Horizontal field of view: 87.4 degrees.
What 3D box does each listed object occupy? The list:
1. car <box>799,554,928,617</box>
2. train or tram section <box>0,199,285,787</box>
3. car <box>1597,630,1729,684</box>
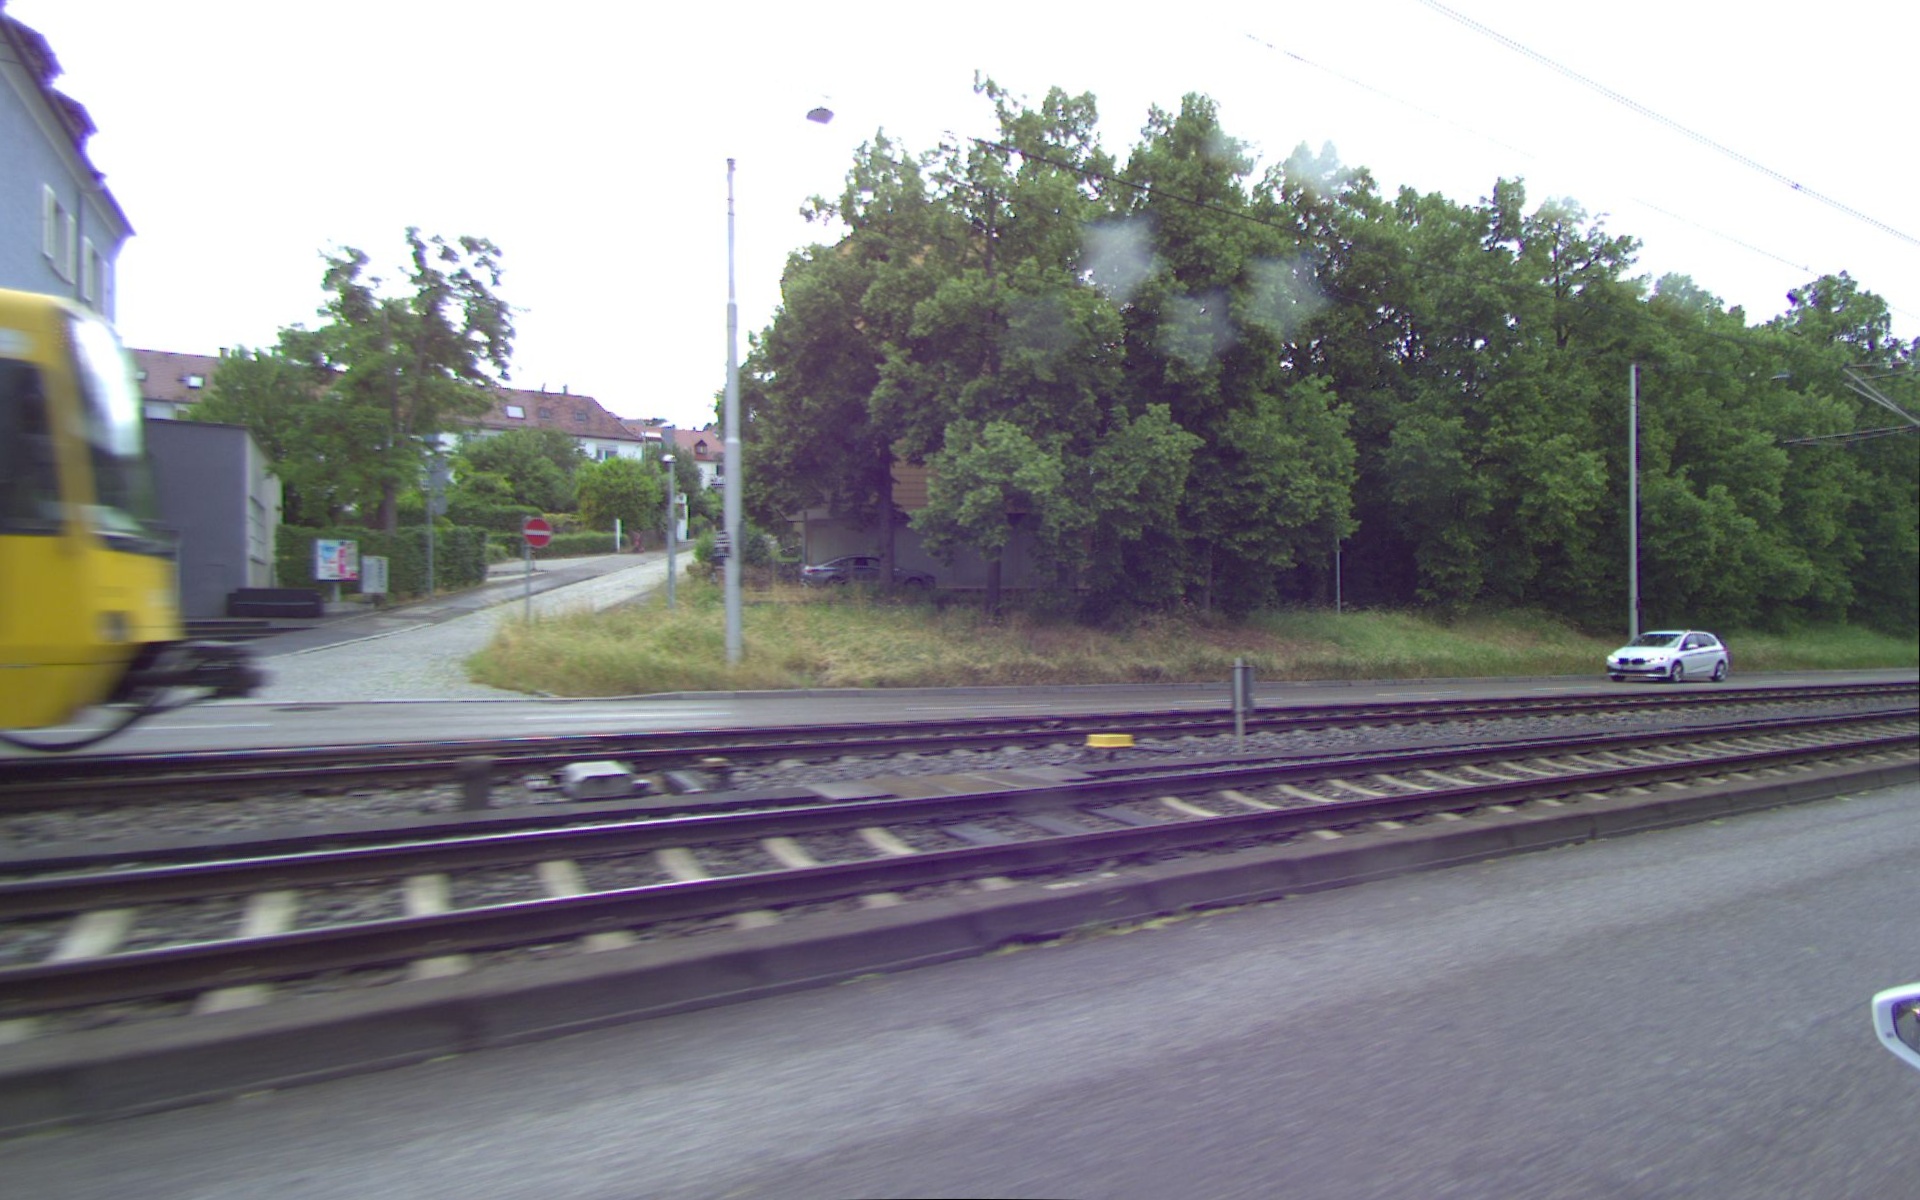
[{"bbox_3d":[-3.318,-0.453,34.387,4.145,2.040,1.962,1,-1,-14],"label":"car"},{"bbox_3d":[-14.334,-0.784,3.812,19.280,3.861,2.955,1,0,-29],"label":"train or tram section"},{"bbox_3d":[21.560,1.707,30.783,4.328,1.550,1.645,1,-1,-30],"label":"car"}]
